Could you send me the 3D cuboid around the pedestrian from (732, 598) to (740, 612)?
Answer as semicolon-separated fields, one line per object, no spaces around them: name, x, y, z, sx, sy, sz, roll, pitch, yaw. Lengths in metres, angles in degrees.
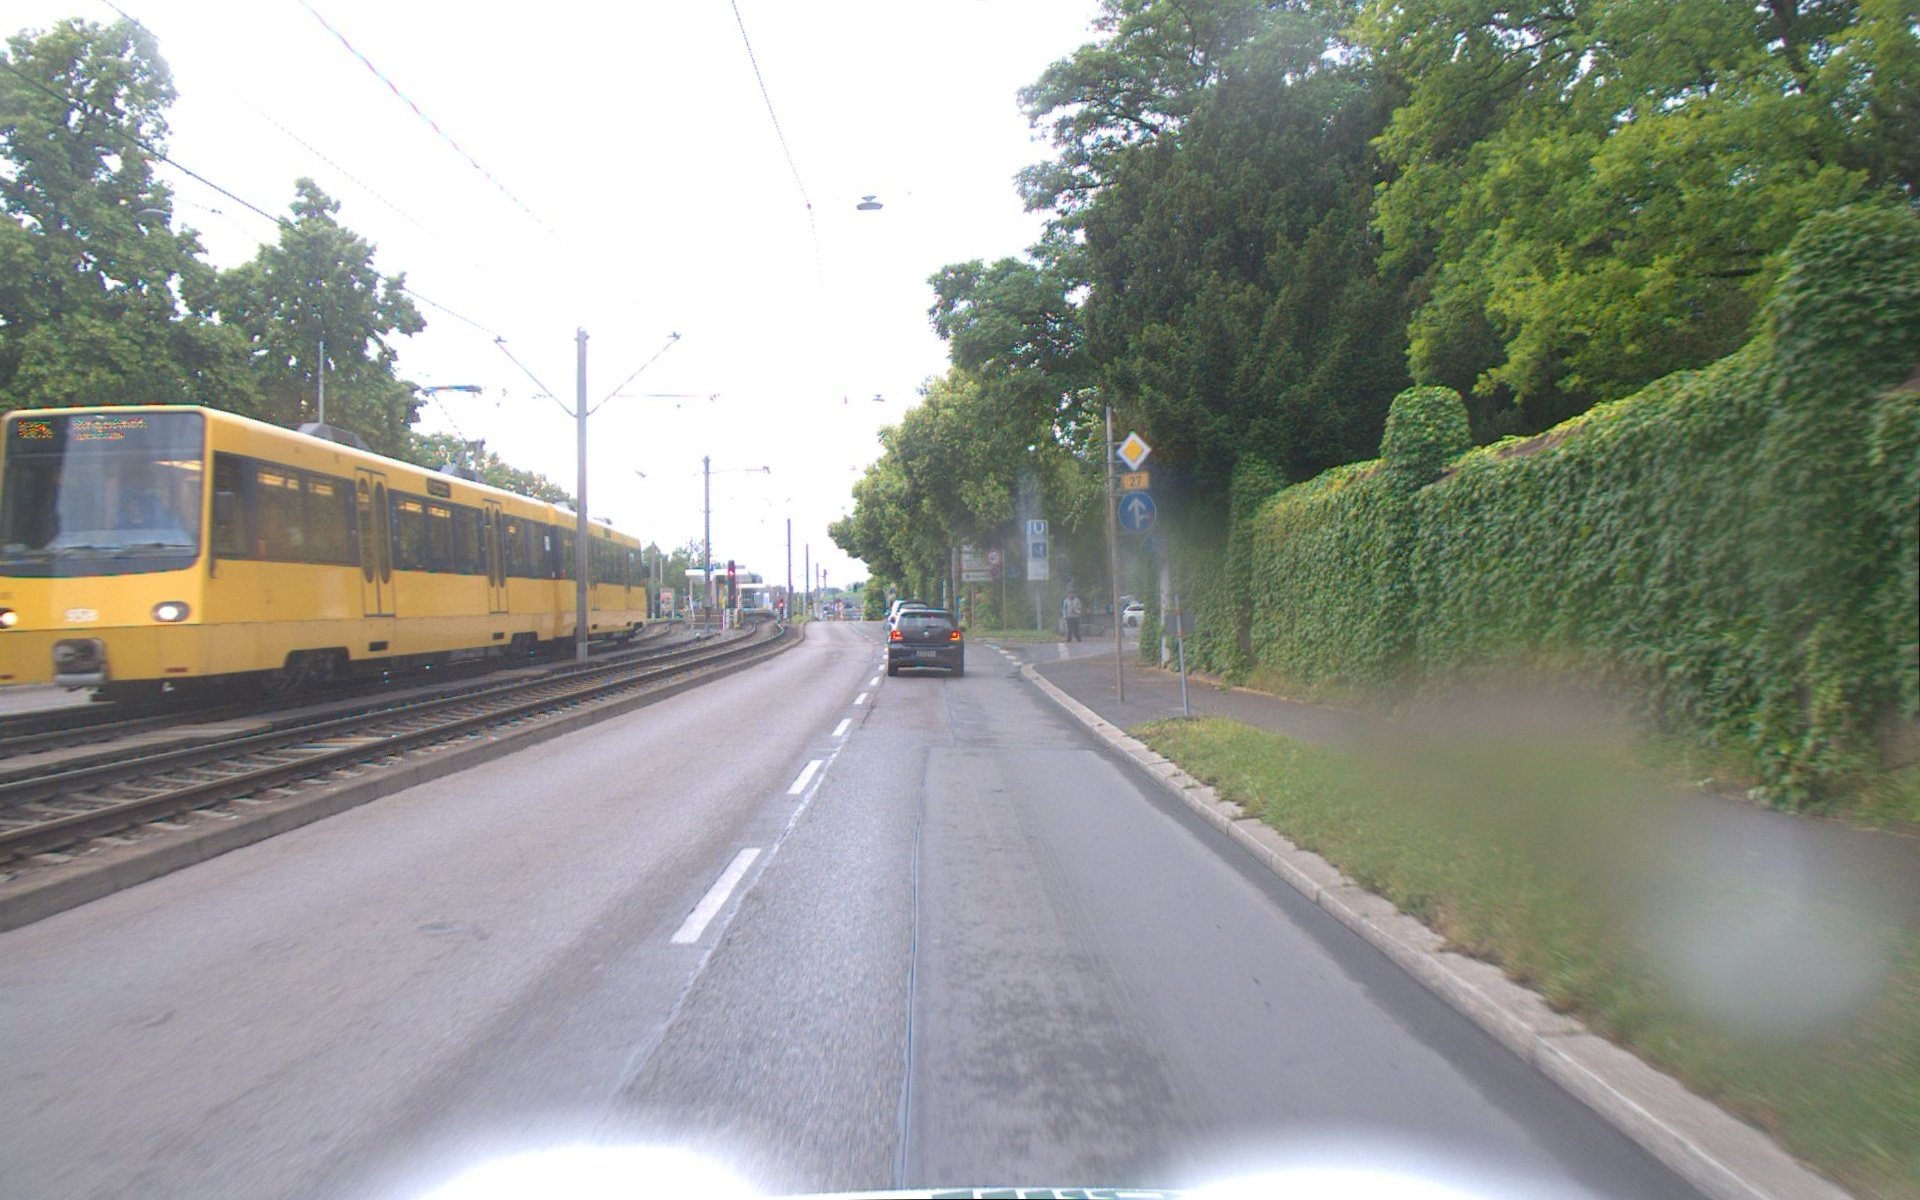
pedestrian;-19.640;0.413;144.889;0.696;1.247;0.619;0;0;-4

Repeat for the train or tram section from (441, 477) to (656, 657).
train or tram section;-10.979;-0.806;46.480;2.772;4.045;17.862;-1;0;-4

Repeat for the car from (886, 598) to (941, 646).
car;-1.606;0.734;56.407;1.654;1.544;3.996;-1;0;-5

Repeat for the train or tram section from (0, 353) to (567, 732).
train or tram section;-9.941;-0.681;27.742;2.772;4.045;20.018;-1;0;-3

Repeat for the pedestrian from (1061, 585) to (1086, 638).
pedestrian;4.049;0.409;59.108;0.837;1.886;0.737;0;0;-1

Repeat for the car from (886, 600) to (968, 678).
car;-0.694;0.807;36.305;1.691;1.567;4.000;-1;0;-1

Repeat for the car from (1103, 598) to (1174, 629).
car;11.746;0.874;109.135;1.932;1.866;4.394;2;0;-45
